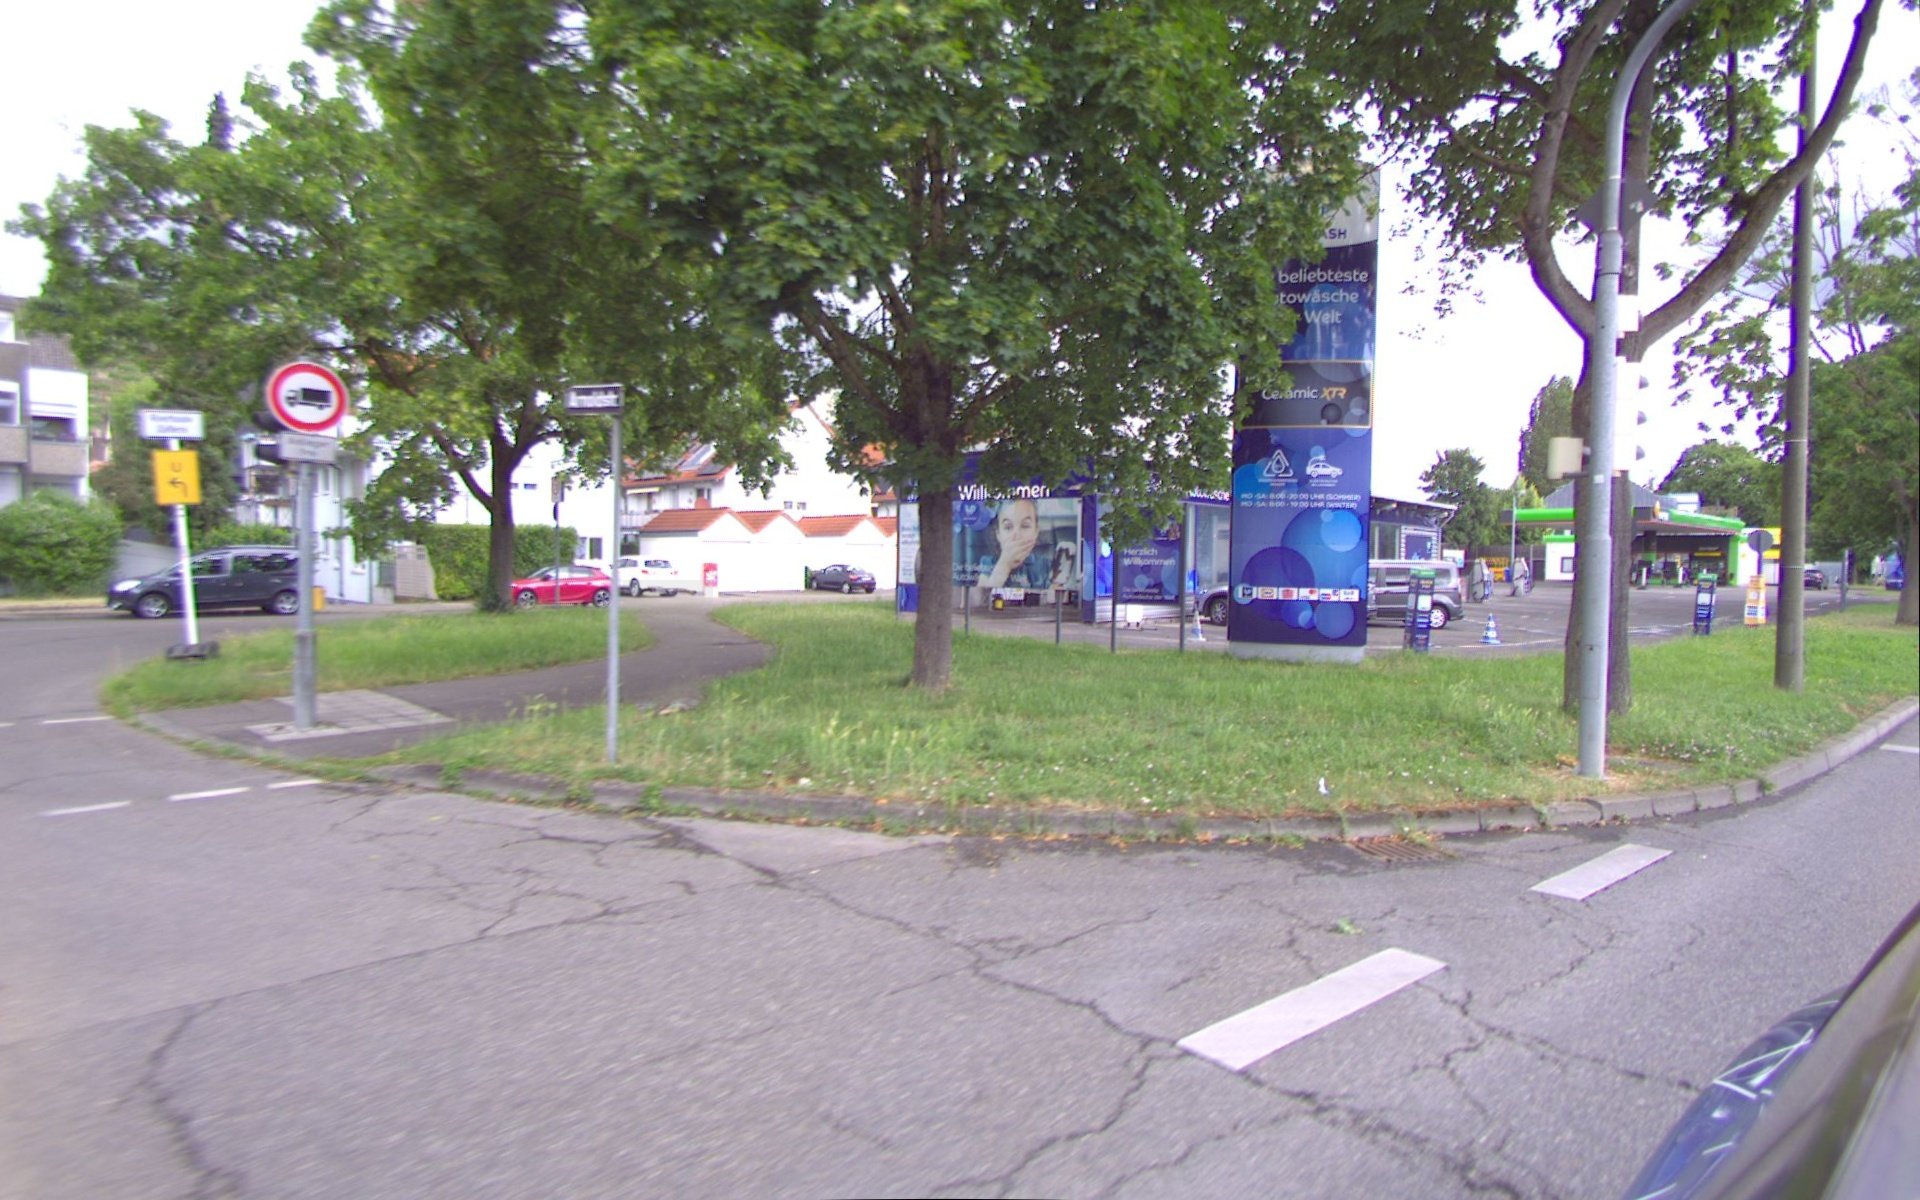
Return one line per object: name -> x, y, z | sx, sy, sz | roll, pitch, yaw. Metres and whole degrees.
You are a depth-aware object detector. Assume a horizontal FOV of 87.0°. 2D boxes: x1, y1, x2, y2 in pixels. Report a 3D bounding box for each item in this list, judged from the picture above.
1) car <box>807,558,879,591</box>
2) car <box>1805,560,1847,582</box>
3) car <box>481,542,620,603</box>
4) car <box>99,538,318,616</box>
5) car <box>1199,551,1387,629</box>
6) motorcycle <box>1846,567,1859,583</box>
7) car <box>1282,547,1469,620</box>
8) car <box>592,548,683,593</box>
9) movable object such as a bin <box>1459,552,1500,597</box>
car -> -5.704, -1.219, 49.053 | 1.745, 1.475, 3.552 | -2, 1, -42
car -> 71.945, -2.441, 84.047 | 4.253, 1.658, 1.998 | -2, 6, -42
car -> -13.204, -0.888, 32.787 | 1.616, 1.865, 3.861 | -1, 1, 44
car -> -19.362, -0.589, 26.222 | 1.717, 1.865, 4.339 | -1, 1, 43
car -> 8.308, -0.298, 25.330 | 4.175, 1.718, 1.822 | 3, 2, 29
motorcycle -> 69.463, -1.958, 78.773 | 0.702, 1.201, 2.353 | 3, 3, 41
car -> 11.210, -0.487, 27.539 | 4.307, 1.843, 1.749 | 1, 2, 6
car -> -13.168, -1.181, 41.213 | 3.798, 1.716, 1.891 | -1, 1, 42
movable object such as a bin -> 22.065, -1.107, 43.000 | 1.159, 1.841, 1.432 | 3, 3, 44
